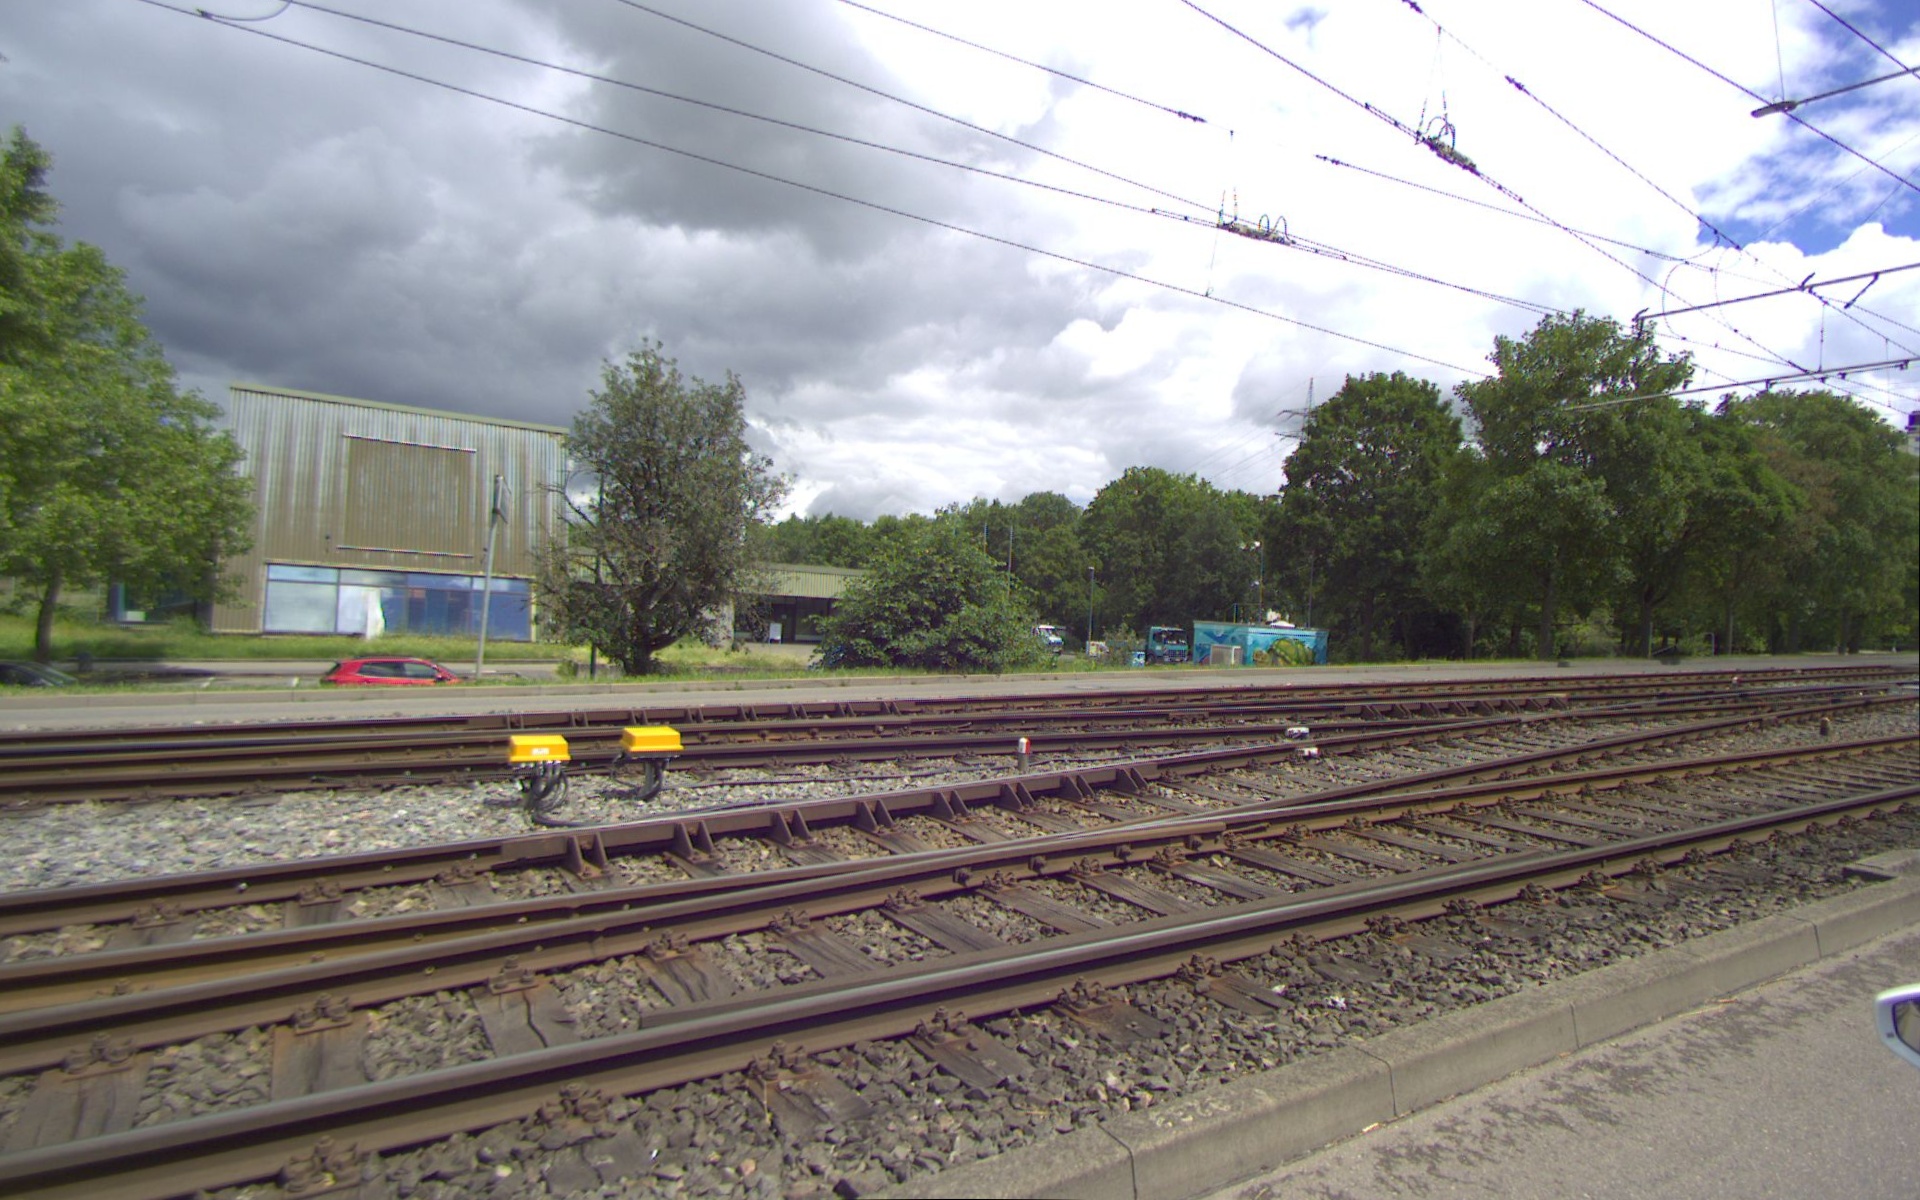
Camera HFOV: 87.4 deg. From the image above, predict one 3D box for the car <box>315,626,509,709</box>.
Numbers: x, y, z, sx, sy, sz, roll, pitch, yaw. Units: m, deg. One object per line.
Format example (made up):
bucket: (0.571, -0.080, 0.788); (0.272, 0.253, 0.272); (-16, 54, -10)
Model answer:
car: (-13.150, 1.554, 24.223); (3.954, 1.795, 1.807); (1, 0, -31)

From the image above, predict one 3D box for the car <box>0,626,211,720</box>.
car: (-18.325, 1.466, 21.042); (3.950, 1.795, 1.809); (1, 0, -28)

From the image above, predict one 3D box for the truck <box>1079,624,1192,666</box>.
truck: (11.958, 3.039, 69.390); (2.584, 2.731, 9.049); (1, -2, -29)

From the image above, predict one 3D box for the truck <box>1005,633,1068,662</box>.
truck: (6.033, 3.746, 79.910); (1.978, 2.207, 5.796); (1, -2, -32)
